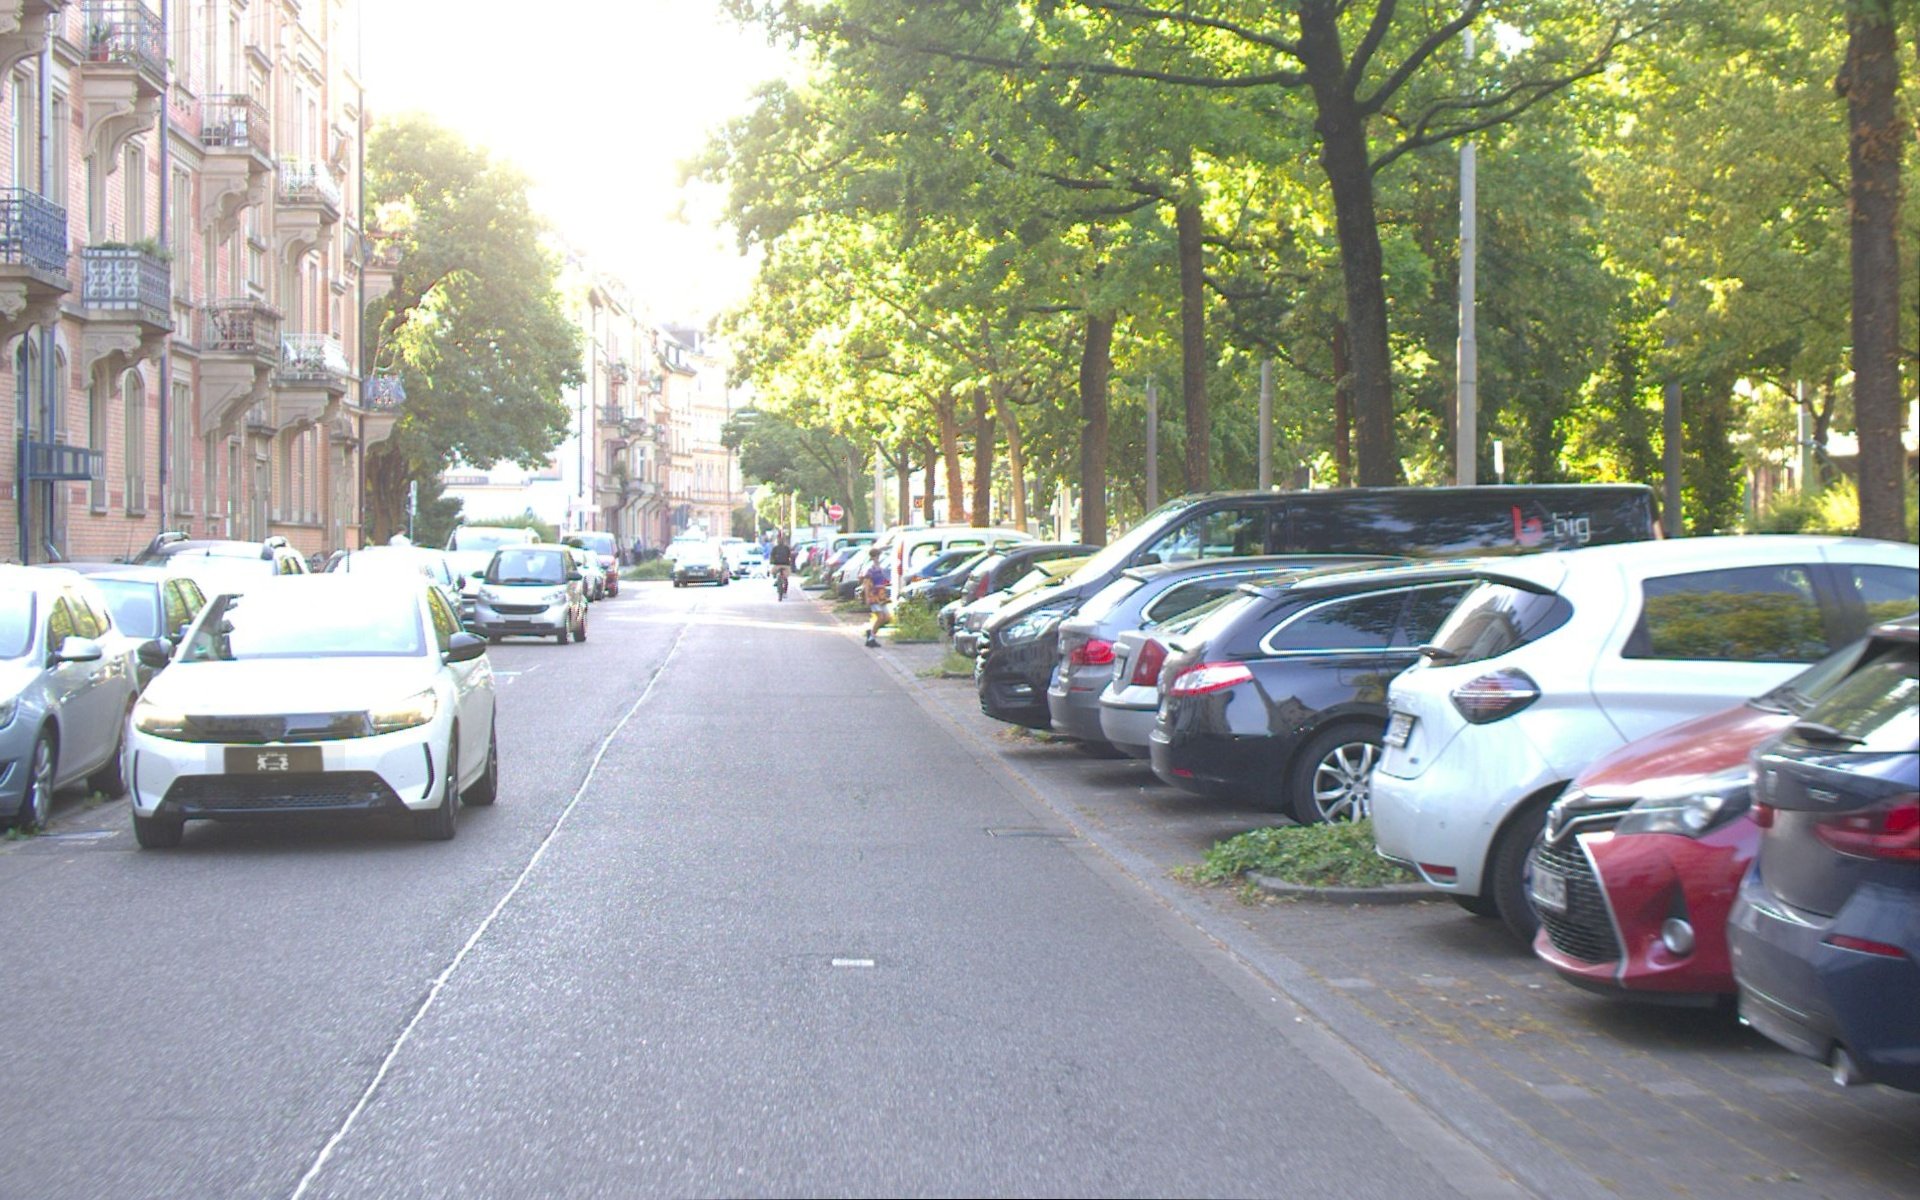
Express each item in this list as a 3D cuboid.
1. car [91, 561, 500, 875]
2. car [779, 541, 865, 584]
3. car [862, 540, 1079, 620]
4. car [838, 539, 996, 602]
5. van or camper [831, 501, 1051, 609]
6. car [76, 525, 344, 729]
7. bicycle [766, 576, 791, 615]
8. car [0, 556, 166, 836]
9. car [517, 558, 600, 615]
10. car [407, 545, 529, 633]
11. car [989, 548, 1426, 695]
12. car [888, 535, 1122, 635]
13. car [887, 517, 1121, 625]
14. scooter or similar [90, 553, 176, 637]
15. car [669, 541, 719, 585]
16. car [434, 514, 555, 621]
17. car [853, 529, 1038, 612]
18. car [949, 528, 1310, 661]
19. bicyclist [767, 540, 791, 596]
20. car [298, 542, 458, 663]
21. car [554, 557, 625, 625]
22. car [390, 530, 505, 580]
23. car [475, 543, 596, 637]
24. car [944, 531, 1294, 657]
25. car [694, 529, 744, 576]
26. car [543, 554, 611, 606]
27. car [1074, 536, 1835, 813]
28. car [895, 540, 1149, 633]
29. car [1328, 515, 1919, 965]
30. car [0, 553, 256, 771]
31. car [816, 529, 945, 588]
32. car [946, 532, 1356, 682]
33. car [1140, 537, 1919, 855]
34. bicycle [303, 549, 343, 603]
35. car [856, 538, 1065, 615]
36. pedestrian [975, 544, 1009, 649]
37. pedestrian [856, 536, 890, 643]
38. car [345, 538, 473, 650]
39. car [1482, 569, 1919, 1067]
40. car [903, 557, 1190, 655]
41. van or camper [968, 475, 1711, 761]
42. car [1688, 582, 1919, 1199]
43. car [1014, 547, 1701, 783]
[{"bbox_3d":[-3.646,0.580,19.504,1.668,1.426,4.001,-3,2,-3],"label":"car"},{"bbox_3d":[-6.888,-1.866,171.899,3.988,2.007,1.999,1,-1,8],"label":"car"},{"bbox_3d":[0.211,-0.410,68.286,4.220,1.448,1.649,-2,1,1],"label":"car"},{"bbox_3d":[-1.144,-0.775,90.773,3.986,1.543,1.859,1,-1,-6],"label":"car"},{"bbox_3d":[-0.469,-1.035,80.795,4.980,2.369,2.185,1,-1,-5],"label":"van or camper"},{"bbox_3d":[-6.729,0.194,31.228,1.751,1.700,4.201,1,1,-4],"label":"car"},{"bbox_3d":[-5.169,-0.125,97.919,0.641,1.096,1.944,1,-1,-5],"label":"bicycle"},{"bbox_3d":[-6.092,0.481,20.857,1.668,1.466,4.284,3,1,-3],"label":"car"},{"bbox_3d":[-10.763,-0.375,92.400,1.756,1.461,4.268,1,1,-1],"label":"car"},{"bbox_3d":[-8.564,-0.224,60.119,1.674,1.449,4.210,-1,1,-3],"label":"car"},{"bbox_3d":[2.533,0.211,35.988,4.399,1.435,1.838,-1,0,-1],"label":"car"},{"bbox_3d":[0.708,-0.255,55.820,3.674,1.496,1.762,-2,1,-2],"label":"car"},{"bbox_3d":[0.786,-0.539,63.857,4.219,1.857,1.762,-2,1,-2],"label":"car"},{"bbox_3d":[-12.494,-0.061,52.016,0.783,1.218,2.704,1,-1,-3],"label":"scooter or similar"},{"bbox_3d":[-9.191,-1.298,118.722,1.668,1.459,4.001,-1,1,-4],"label":"car"},{"bbox_3d":[-8.852,-0.583,65.729,1.993,1.914,5.041,1,-1,-5],"label":"car"},{"bbox_3d":[-0.344,-0.664,76.238,3.986,1.685,1.859,-2,1,-2],"label":"car"},{"bbox_3d":[2.097,-0.078,43.508,4.399,1.585,1.838,-1,0,-2],"label":"car"},{"bbox_3d":[-5.153,-0.895,97.894,0.627,1.568,0.802,1,-1,-5],"label":"bicyclist"},{"bbox_3d":[-7.741,0.001,45.980,1.753,1.459,4.001,2,1,-5],"label":"car"},{"bbox_3d":[-11.463,-0.290,106.580,1.957,2.011,4.268,1,1,-4],"label":"car"},{"bbox_3d":[-18.901,-1.654,126.911,3.986,1.700,2.000,1,-1,-2],"label":"car"},{"bbox_3d":[-6.713,-0.179,54.526,1.504,1.430,2.753,-1,1,1],"label":"car"},{"bbox_3d":[2.099,-0.087,46.113,4.398,1.585,1.838,-1,0,-8],"label":"car"},{"bbox_3d":[-10.023,-1.961,142.947,1.993,1.831,4.000,1,-1,-5],"label":"car"},{"bbox_3d":[-11.232,-0.597,101.045,1.756,1.461,4.268,1,1,-4],"label":"car"},{"bbox_3d":[2.952,0.445,21.137,4.399,1.572,1.664,-1,-1,-1],"label":"car"},{"bbox_3d":[1.025,-0.243,58.325,4.080,1.437,1.762,-2,1,-6],"label":"car"},{"bbox_3d":[3.484,0.513,13.669,3.781,1.640,1.664,-1,-1,-2],"label":"car"},{"bbox_3d":[-6.517,0.405,25.947,1.615,1.447,4.000,2,1,-1],"label":"car"},{"bbox_3d":[-2.582,-1.340,111.014,3.986,1.788,1.859,1,-1,-6],"label":"car"},{"bbox_3d":[2.103,0.073,38.727,4.399,1.585,1.838,-1,0,-4],"label":"car"},{"bbox_3d":[3.194,0.499,18.440,4.399,1.572,1.664,-1,-1,2],"label":"car"},{"bbox_3d":[-13.911,-0.519,75.056,0.704,1.143,1.890,1,-1,-6],"label":"bicycle"},{"bbox_3d":[-0.020,-0.494,71.172,4.219,1.448,1.865,-2,1,-2],"label":"car"},{"bbox_3d":[0.471,-0.061,50.547,0.380,1.511,0.518,1,3,16],"label":"pedestrian"},{"bbox_3d":[-1.310,-0.161,51.752,0.380,1.579,0.518,1,3,16],"label":"pedestrian"},{"bbox_3d":[-8.120,-0.114,50.617,1.746,1.541,4.153,2,1,-9],"label":"car"},{"bbox_3d":[3.723,0.636,11.096,3.782,1.468,1.664,-1,-1,-1],"label":"car"},{"bbox_3d":[1.183,0.072,47.982,3.842,1.274,1.691,-1,1,-4],"label":"car"},{"bbox_3d":[2.798,0.105,26.295,5.413,2.020,2.030,-1,1,-1],"label":"van or camper"},{"bbox_3d":[3.847,0.662,8.426,3.782,1.442,1.664,-1,-1,2],"label":"car"},{"bbox_3d":[2.675,0.433,23.746,4.398,1.496,1.838,-1,-1,-6],"label":"car"}]
